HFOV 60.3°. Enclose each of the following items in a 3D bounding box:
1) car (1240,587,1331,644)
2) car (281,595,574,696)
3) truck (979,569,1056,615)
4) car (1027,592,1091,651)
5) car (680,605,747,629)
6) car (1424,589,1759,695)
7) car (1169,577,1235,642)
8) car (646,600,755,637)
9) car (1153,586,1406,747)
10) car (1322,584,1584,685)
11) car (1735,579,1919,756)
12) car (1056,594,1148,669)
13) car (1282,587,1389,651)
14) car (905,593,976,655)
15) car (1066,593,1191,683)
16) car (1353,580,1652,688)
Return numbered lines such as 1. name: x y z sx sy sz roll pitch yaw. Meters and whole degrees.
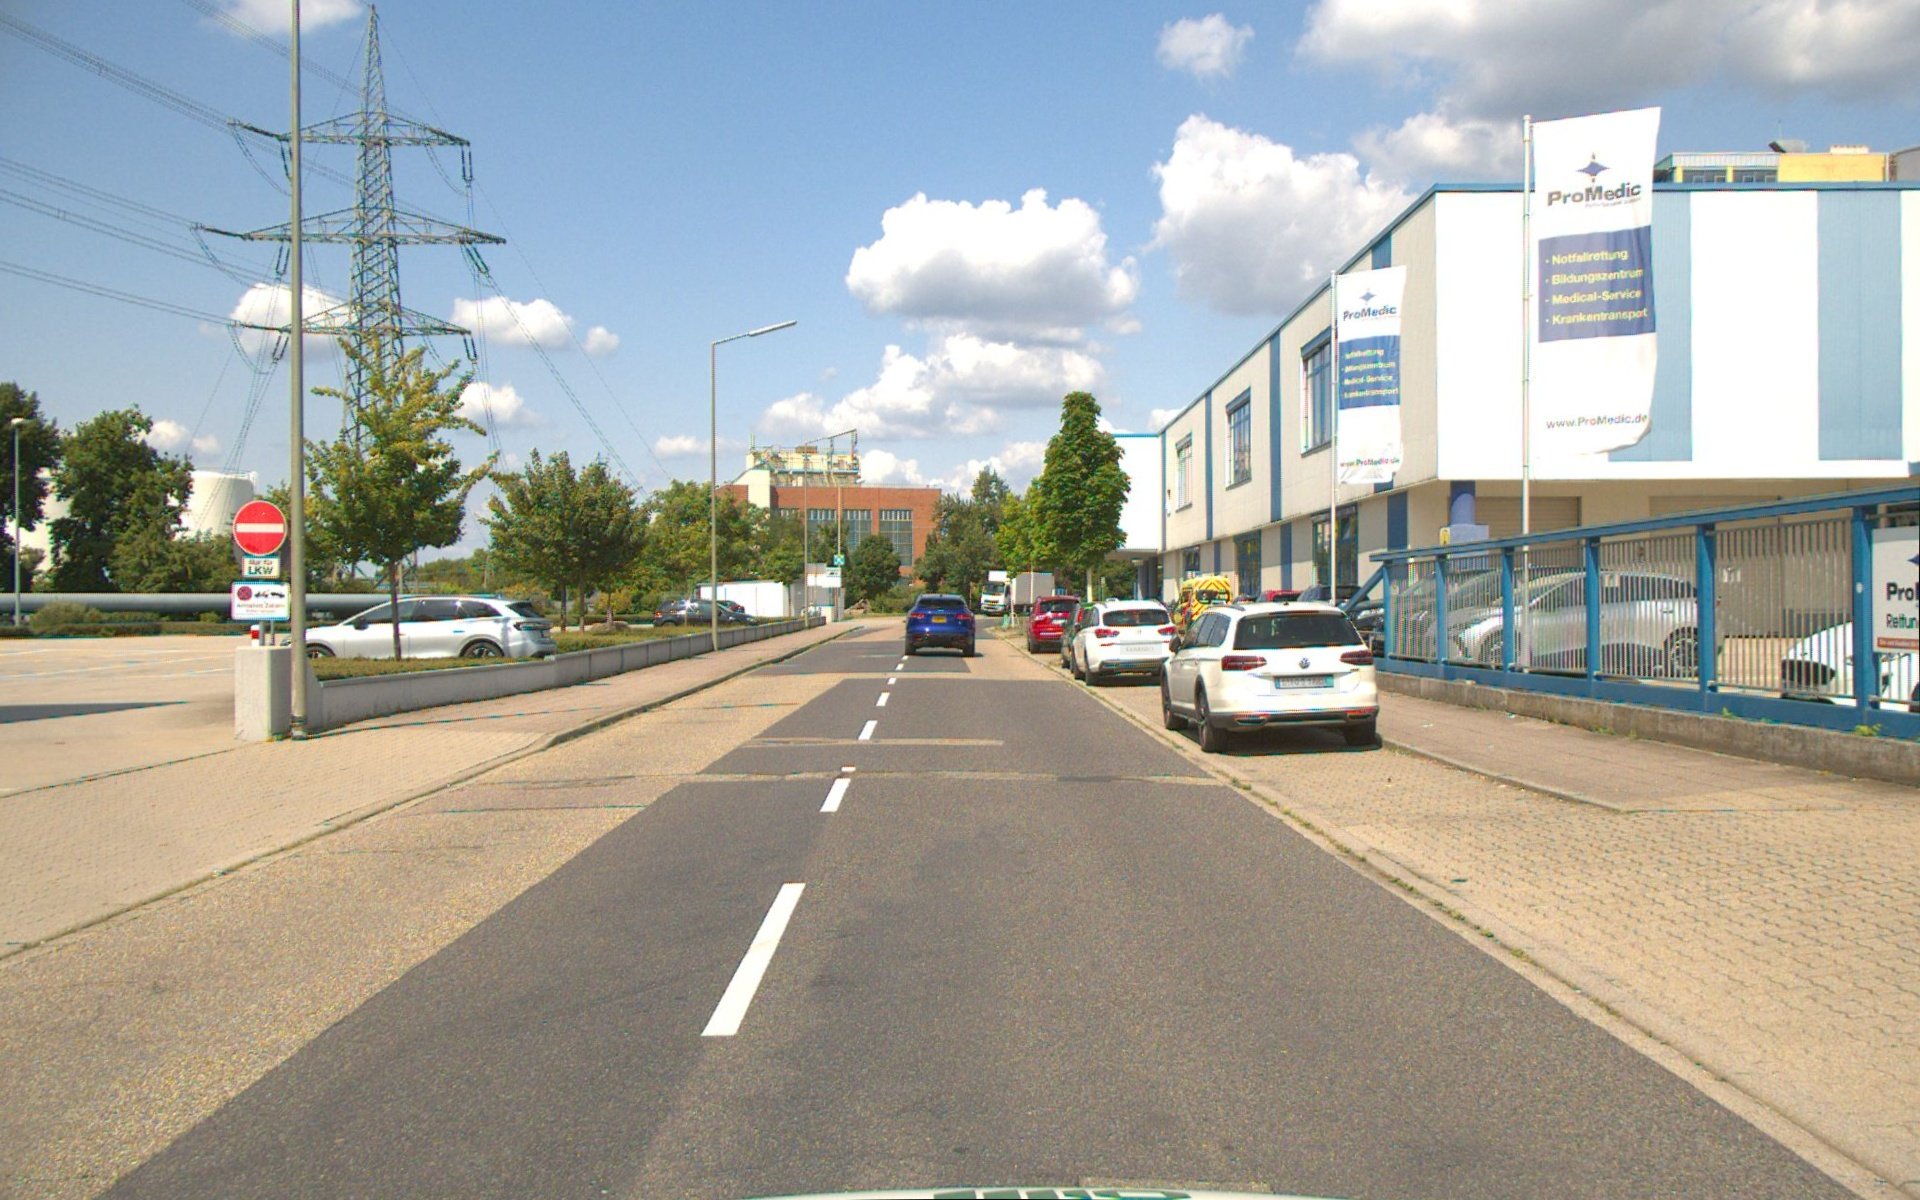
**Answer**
1. car: 10.039 0.517 51.307 1.953 1.686 4.289 0 -2 -1
2. car: -9.546 0.796 29.960 4.661 1.630 1.998 -2 -1 -5
3. truck: 4.821 -0.650 136.286 2.277 3.630 9.350 1 1 29
4. car: 2.920 0.643 49.683 1.719 1.679 4.678 0 -1 1
5. car: -15.153 1.045 101.726 3.917 1.402 1.798 0 0 34
6. car: 9.237 0.601 24.461 4.192 1.445 2.000 -1 0 -1
7. car: 9.836 0.404 67.599 1.884 2.507 5.258 1 -1 -1
8. car: -9.880 0.695 63.157 3.906 1.400 1.803 0 0 -1
9. car: 3.379 0.675 18.395 1.830 1.547 4.596 0 -1 -1
10. car: 8.605 0.587 29.102 4.002 1.715 1.999 0 0 -2
11. car: 9.266 0.532 14.612 3.905 1.445 2.000 -1 0 -1
12. car: 3.086 0.684 36.655 1.634 1.547 3.994 0 -1 -1
13. car: 10.046 0.550 44.612 1.790 1.539 4.639 0 -3 -1
14. car: -0.560 0.673 46.250 1.871 1.621 4.700 0 -1 -1
15. car: 3.082 0.687 31.047 1.798 1.547 4.460 0 -1 -1
16. car: 8.713 0.537 26.835 4.141 1.676 2.147 0 0 -2
